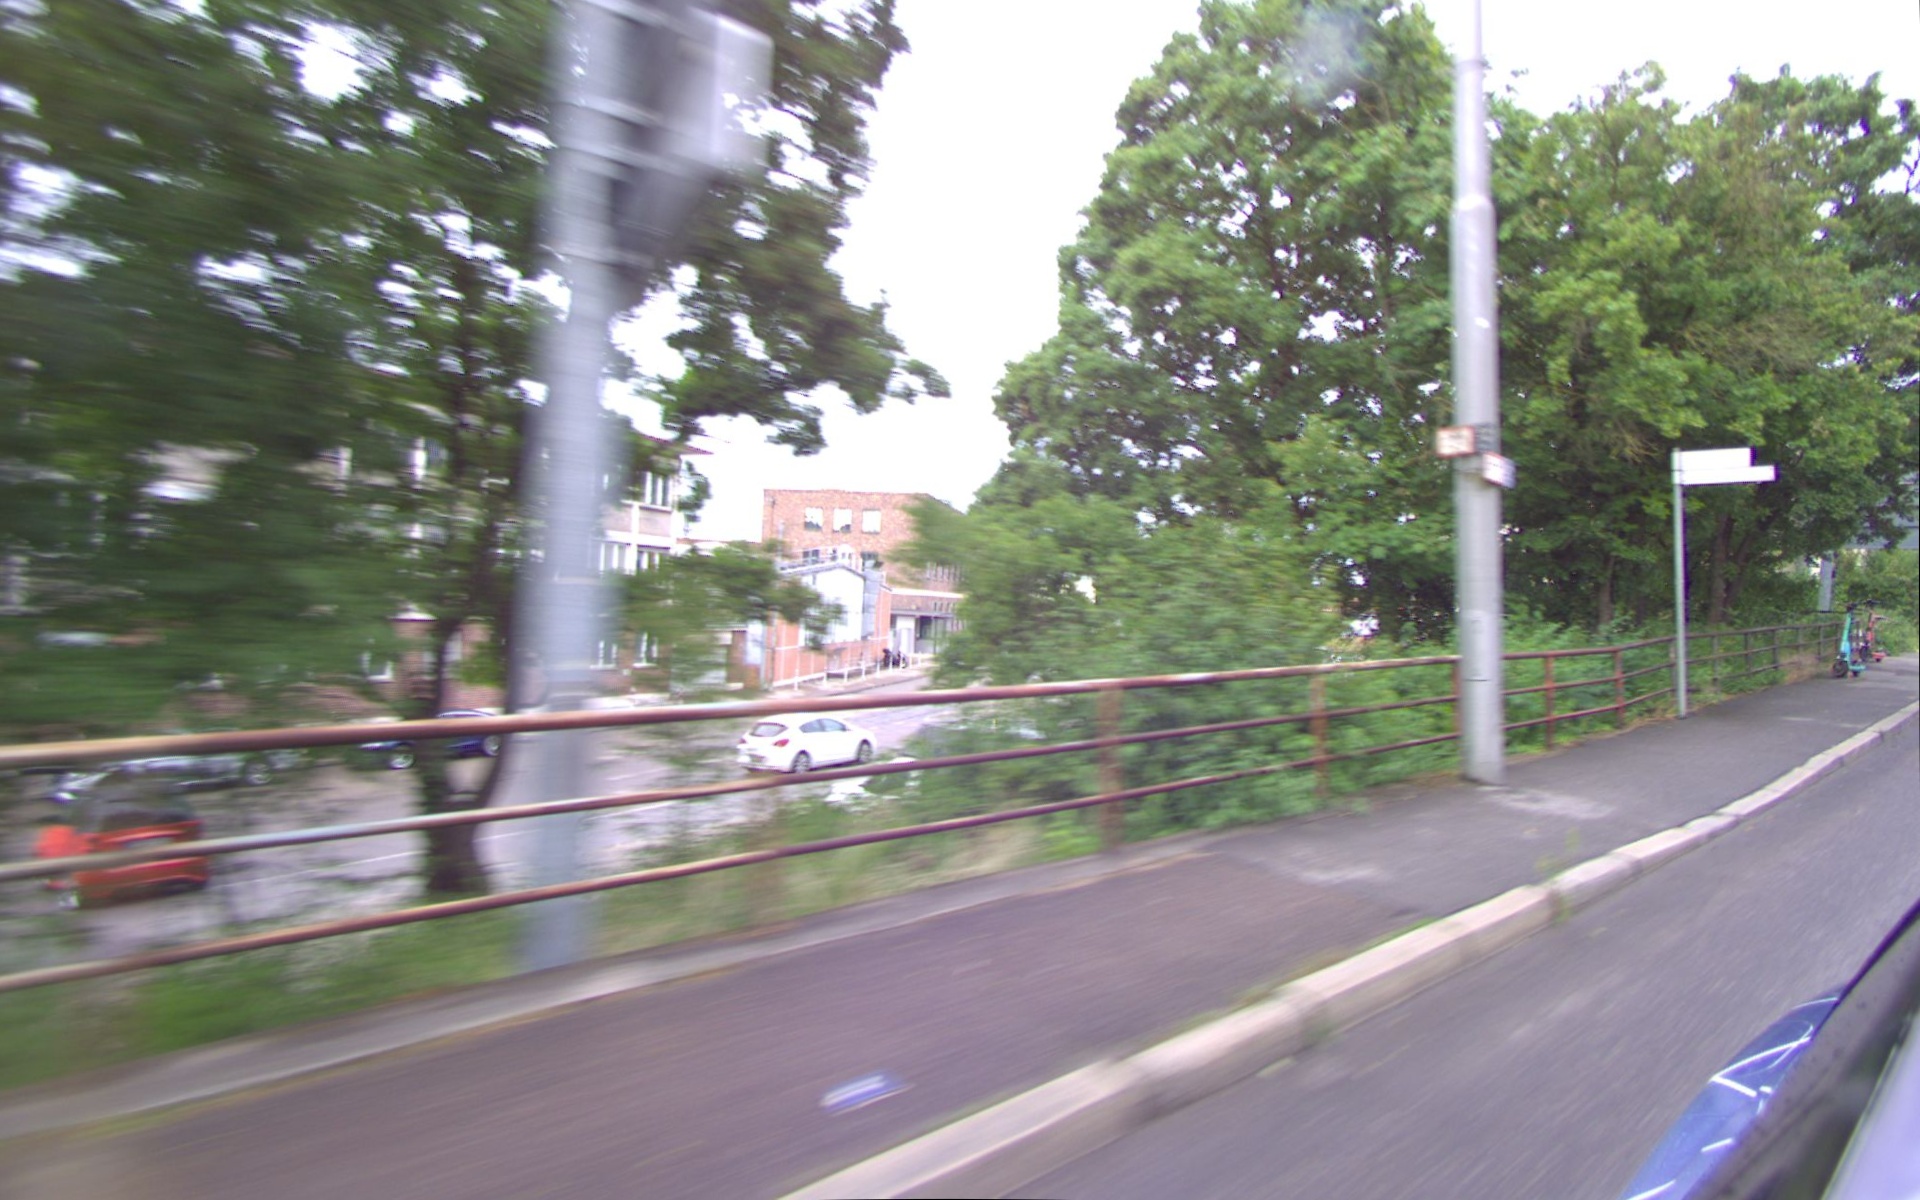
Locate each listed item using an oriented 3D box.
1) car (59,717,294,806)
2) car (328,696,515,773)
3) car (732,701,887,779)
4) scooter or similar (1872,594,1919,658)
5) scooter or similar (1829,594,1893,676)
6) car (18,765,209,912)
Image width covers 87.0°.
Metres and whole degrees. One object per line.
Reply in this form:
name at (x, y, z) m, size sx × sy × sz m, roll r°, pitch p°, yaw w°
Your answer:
car at (-17.850, 3.613, 23.241) m, size 1.656 × 1.413 × 3.951 m, roll 1°, pitch 0°, yaw 34°
car at (-14.913, 3.664, 28.272) m, size 1.732 × 1.544 × 4.404 m, roll 0°, pitch 0°, yaw 30°
car at (-3.884, 3.625, 26.876) m, size 1.732 × 1.442 × 4.404 m, roll 0°, pitch 0°, yaw 30°
scooter or similar at (18.797, 0.508, 20.300) m, size 1.442 × 1.224 × 0.574 m, roll 0°, pitch 1°, yaw -41°
scooter or similar at (14.669, 0.542, 16.461) m, size 1.812 × 1.248 × 0.539 m, roll 0°, pitch 1°, yaw -41°
car at (-12.425, 3.365, 14.803) m, size 3.393 × 1.416 × 1.493 m, roll -1°, pitch -2°, yaw 39°
